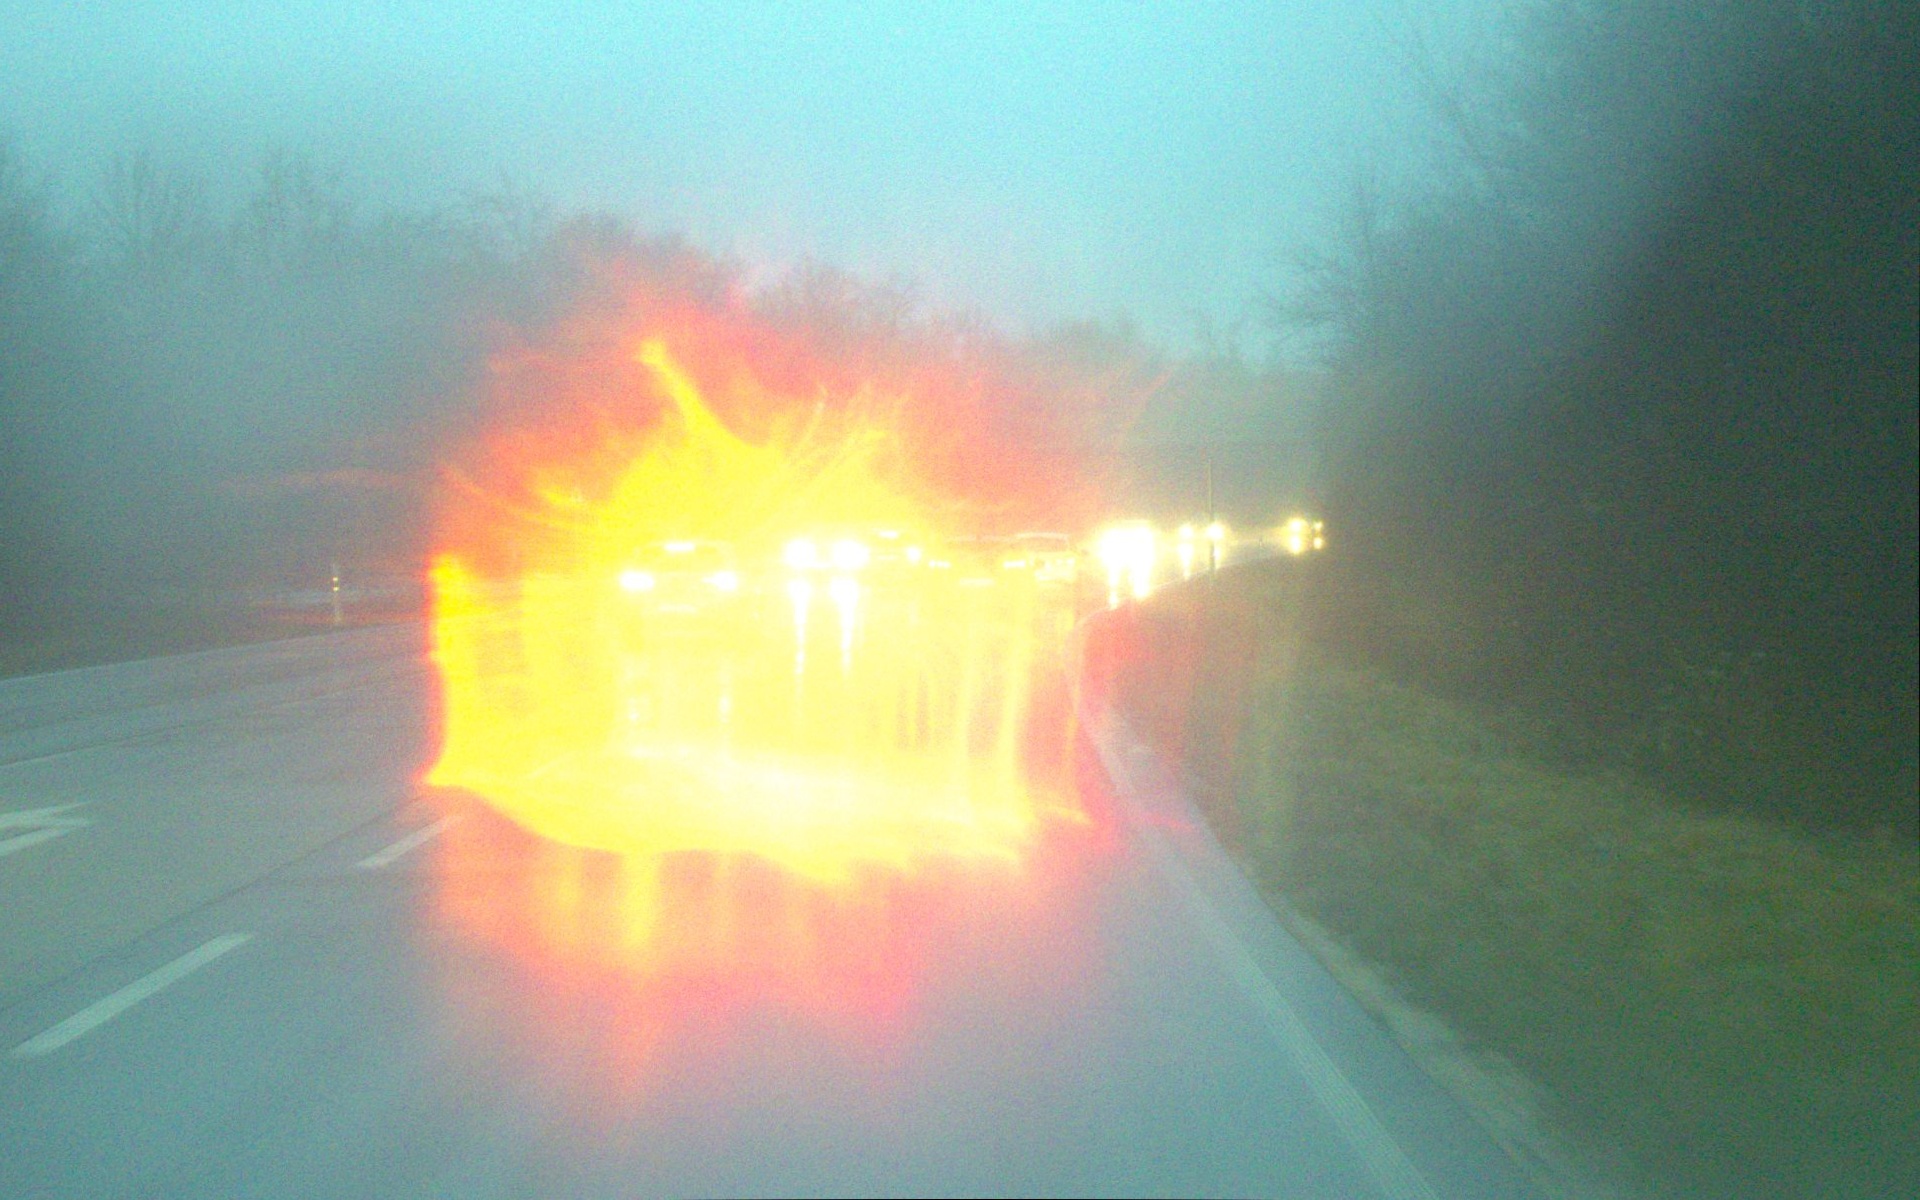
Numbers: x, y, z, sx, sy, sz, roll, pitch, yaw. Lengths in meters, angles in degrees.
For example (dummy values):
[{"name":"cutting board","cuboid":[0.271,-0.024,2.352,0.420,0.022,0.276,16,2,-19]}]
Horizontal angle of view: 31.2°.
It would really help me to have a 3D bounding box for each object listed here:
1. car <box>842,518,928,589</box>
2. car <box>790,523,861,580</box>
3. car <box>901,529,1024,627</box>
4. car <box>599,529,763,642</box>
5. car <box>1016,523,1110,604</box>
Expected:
[{"name":"car","cuboid":[-1.759,-1.127,82.122,1.713,1.621,4.218,0,2,3]},{"name":"car","cuboid":[-3.731,-1.363,95.840,1.646,1.551,4.381,0,1,2]},{"name":"car","cuboid":[0.075,-0.362,52.945,1.679,1.385,4.098,-1,2,3]},{"name":"car","cuboid":[-4.013,-0.247,50.148,2.005,1.550,4.517,1,1,0]},{"name":"car","cuboid":[2.286,-0.831,75.467,1.679,1.669,4.097,-1,2,7]}]
